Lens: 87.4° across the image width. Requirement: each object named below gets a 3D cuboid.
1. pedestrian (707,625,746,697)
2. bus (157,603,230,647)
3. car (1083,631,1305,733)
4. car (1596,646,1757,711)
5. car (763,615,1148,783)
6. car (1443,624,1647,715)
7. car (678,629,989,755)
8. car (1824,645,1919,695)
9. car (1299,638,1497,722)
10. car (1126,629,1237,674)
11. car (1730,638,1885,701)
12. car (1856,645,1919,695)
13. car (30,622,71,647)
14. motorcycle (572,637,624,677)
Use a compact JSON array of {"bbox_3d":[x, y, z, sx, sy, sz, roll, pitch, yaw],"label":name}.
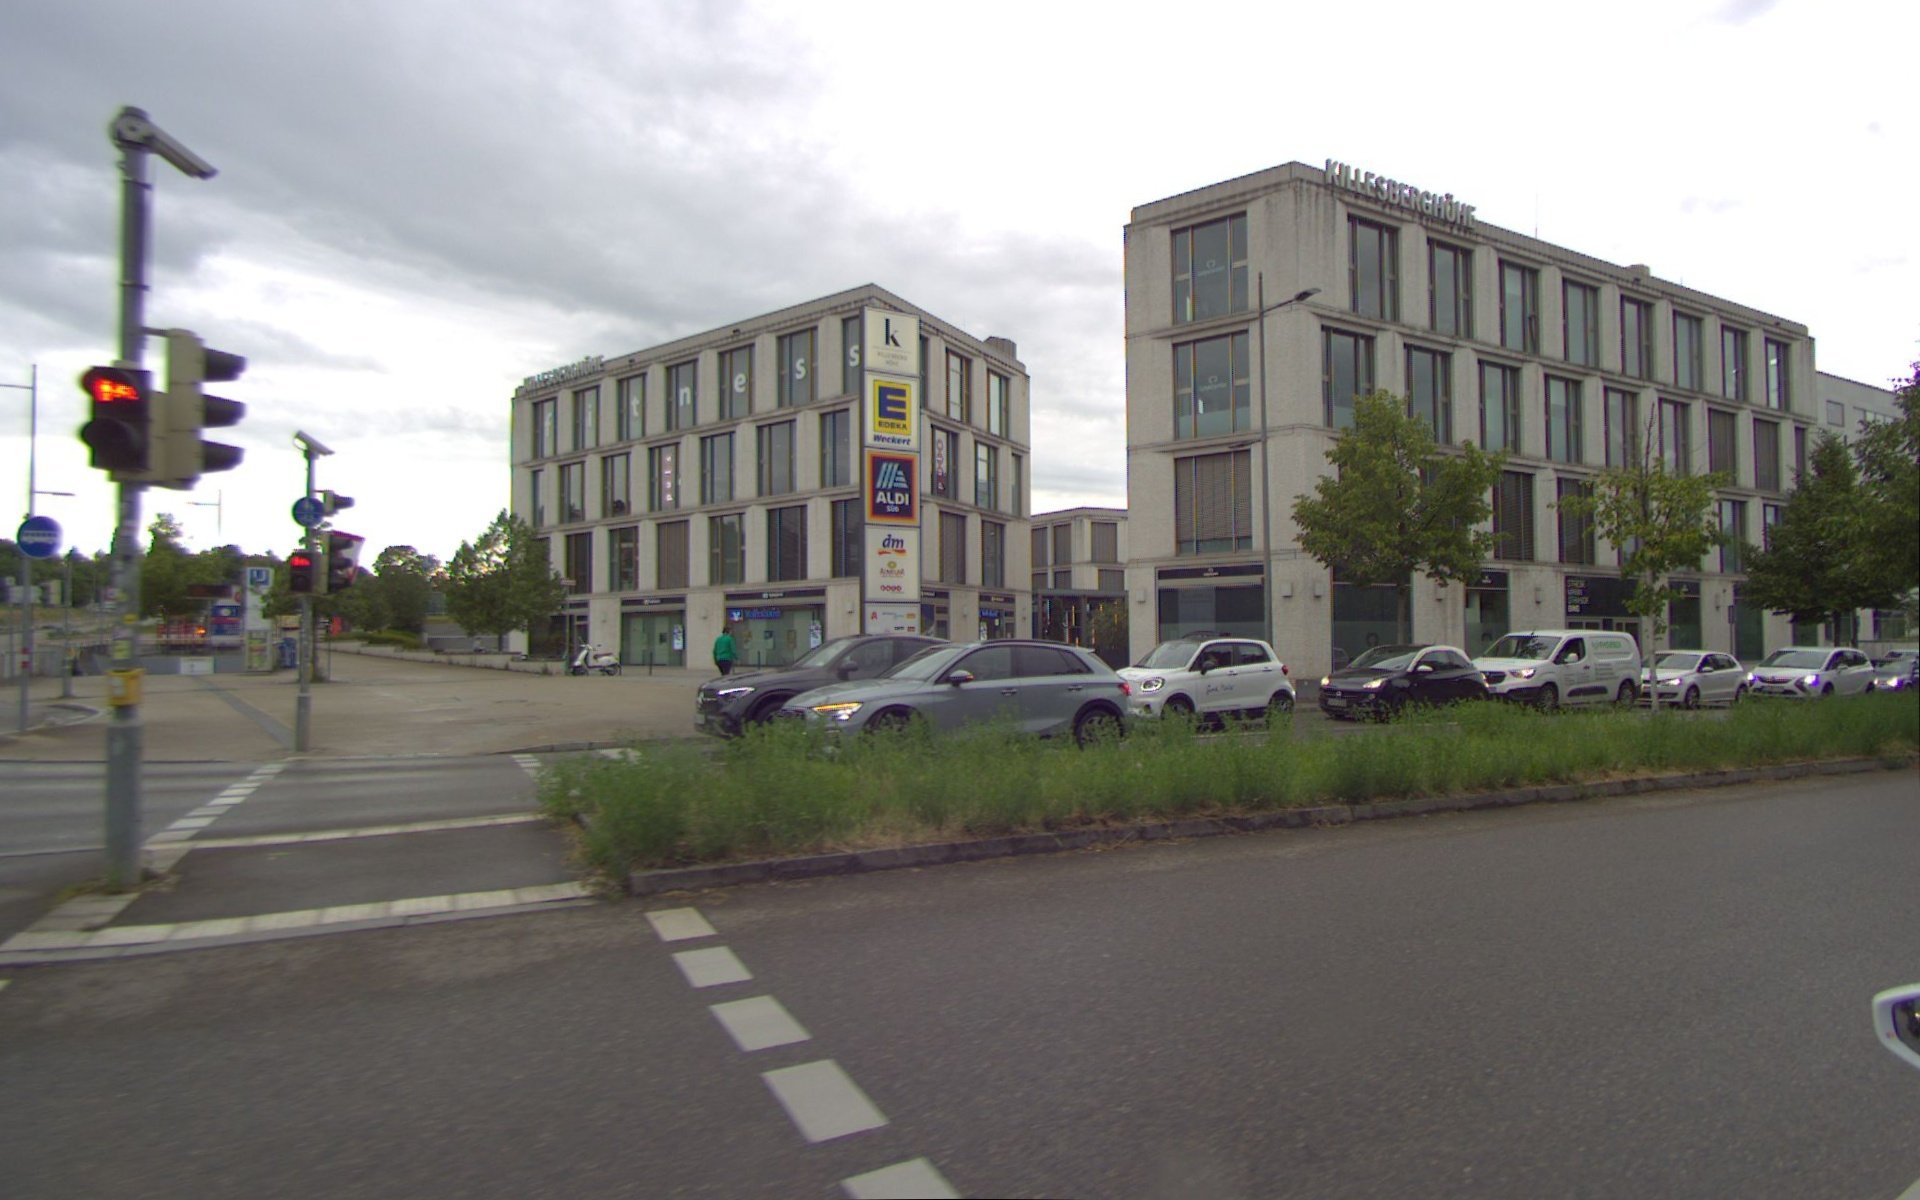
[{"bbox_3d":[-5.612,1.466,24.177,0.737,1.709,0.681,0,-1,1],"label":"pedestrian"},{"bbox_3d":[-55.817,1.861,73.396,2.847,3.028,9.929,1,-2,-29],"label":"bus"},{"bbox_3d":[4.129,1.381,17.640,3.658,1.597,1.643,0,-3,-30],"label":"car"},{"bbox_3d":[18.235,1.948,25.530,4.010,1.487,1.737,0,-3,-29],"label":"car"},{"bbox_3d":[-0.004,0.991,11.620,4.115,1.596,1.840,0,-1,-30],"label":"car"},{"bbox_3d":[13.186,1.468,22.583,4.714,1.826,1.836,0,-1,-29],"label":"car"},{"bbox_3d":[-1.770,1.221,14.287,4.016,1.539,1.817,1,-4,-31],"label":"car"},{"bbox_3d":[29.193,2.174,31.667,3.947,1.429,1.635,0,-3,-29],"label":"car"},{"bbox_3d":[8.736,1.532,19.991,3.705,1.479,1.707,0,-3,-30],"label":"car"},{"bbox_3d":[7.264,1.659,33.071,3.243,1.394,1.562,-1,-2,36],"label":"car"},{"bbox_3d":[24.305,1.938,28.782,4.616,1.621,1.822,0,-3,-29],"label":"car"},{"bbox_3d":[37.897,2.790,39.769,5.200,1.839,2.112,3,-3,-30],"label":"car"},{"bbox_3d":[-78.982,2.982,87.276,1.978,2.040,3.965,0,-1,-32],"label":"car"},{"bbox_3d":[-13.406,2.092,37.252,1.738,1.421,0.523,1,-1,-36],"label":"motorcycle"}]
